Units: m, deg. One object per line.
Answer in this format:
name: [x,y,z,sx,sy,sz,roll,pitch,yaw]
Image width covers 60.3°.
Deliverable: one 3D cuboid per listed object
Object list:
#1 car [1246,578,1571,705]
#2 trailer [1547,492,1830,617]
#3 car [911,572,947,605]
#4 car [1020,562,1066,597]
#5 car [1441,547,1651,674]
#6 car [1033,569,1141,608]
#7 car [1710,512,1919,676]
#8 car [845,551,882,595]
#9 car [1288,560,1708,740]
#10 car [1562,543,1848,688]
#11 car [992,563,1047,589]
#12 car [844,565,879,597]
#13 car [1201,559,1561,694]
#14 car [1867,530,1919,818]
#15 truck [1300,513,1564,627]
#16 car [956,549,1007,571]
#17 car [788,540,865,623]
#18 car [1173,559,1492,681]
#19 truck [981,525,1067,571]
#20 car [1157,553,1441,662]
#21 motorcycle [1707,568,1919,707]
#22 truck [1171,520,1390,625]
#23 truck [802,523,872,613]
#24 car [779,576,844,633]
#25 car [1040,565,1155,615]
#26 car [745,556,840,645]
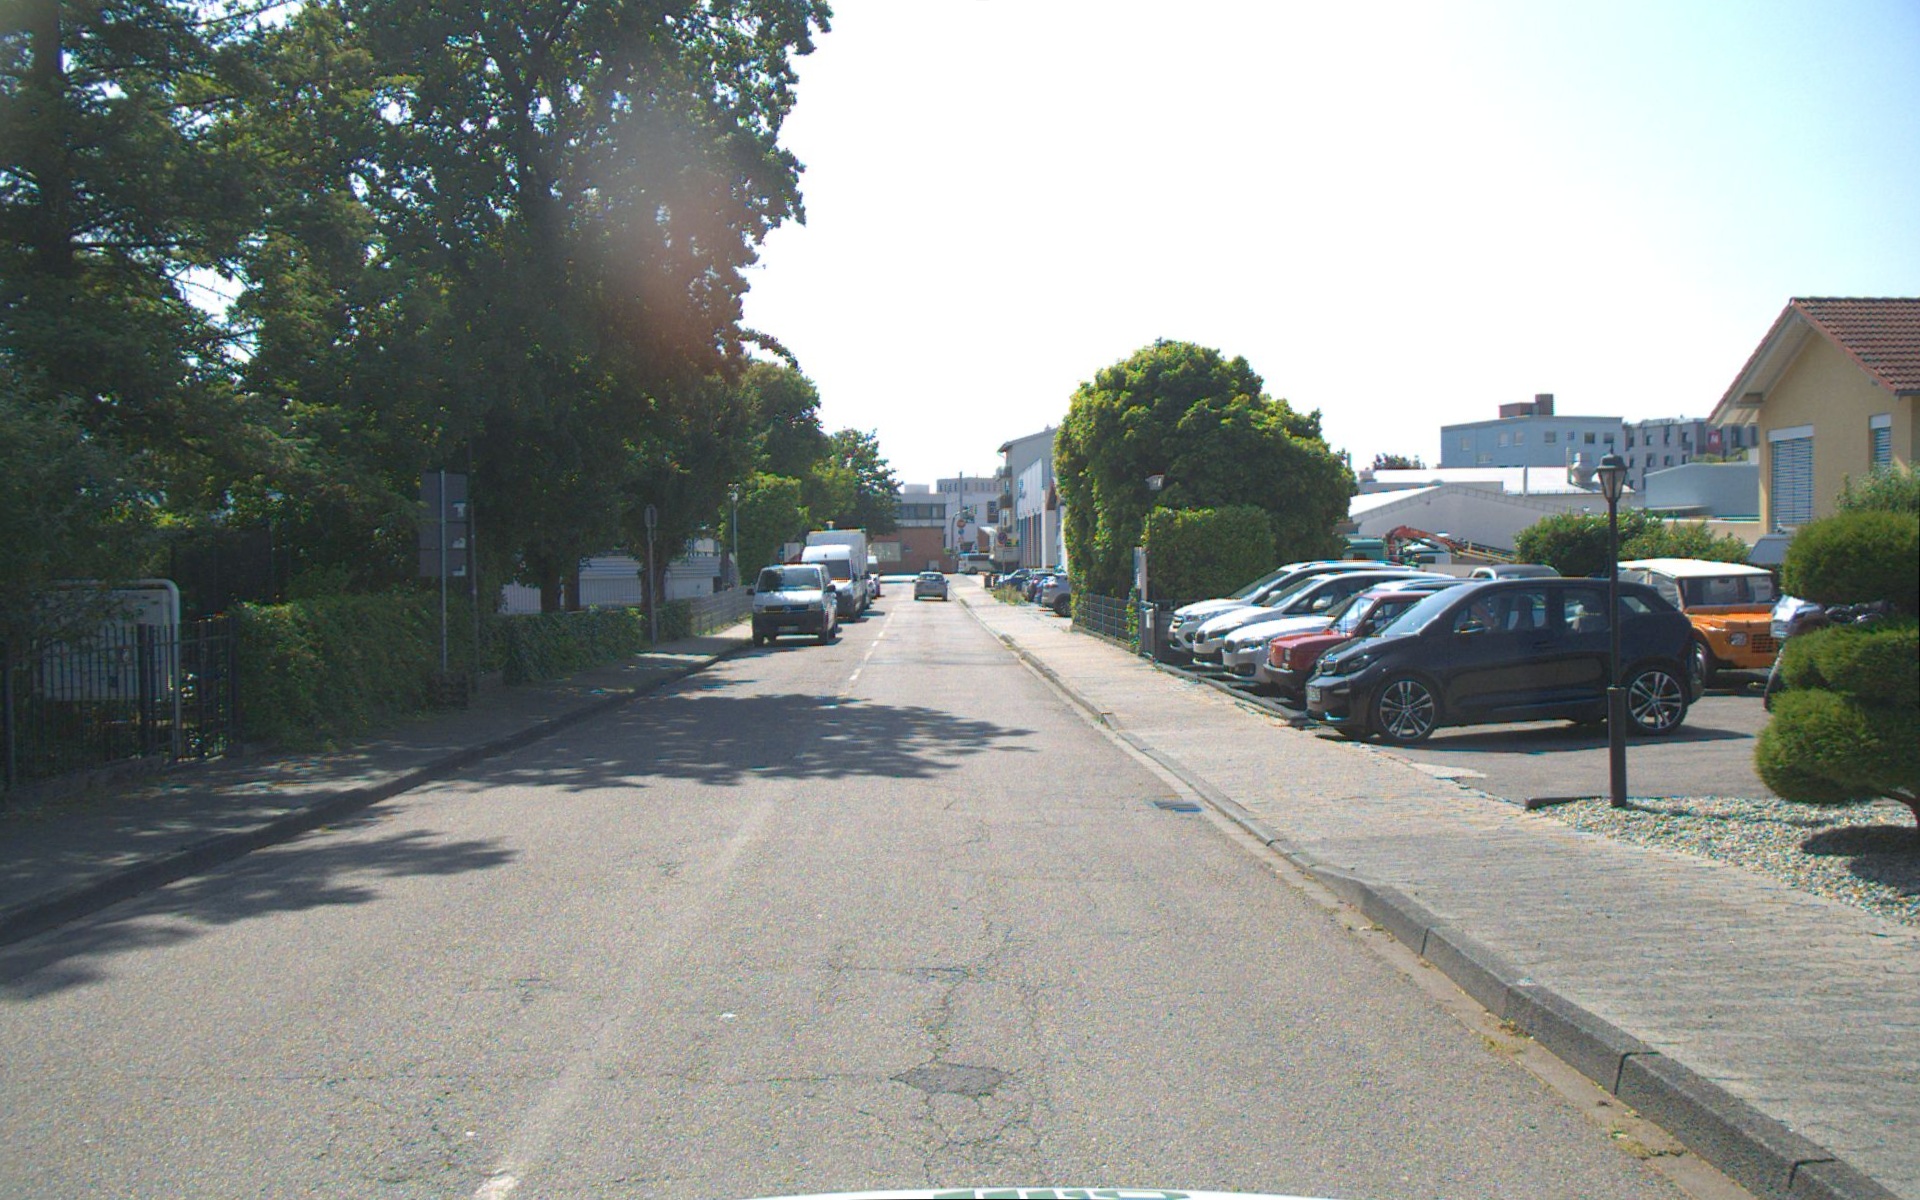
car: [5.373,0.475,20.073,3.478,1.358,1.558,-2,0,-3]
trailer: [24.390,-1.522,55.712,8.159,3.930,3.069,-1,1,4]
car: [-1.699,-0.606,88.502,1.852,1.714,3.956,-1,0,-2]
car: [4.114,-1.035,82.306,1.821,1.595,4.950,-1,2,-2]
car: [9.323,0.152,26.645,1.953,1.892,3.787,0,0,-2]
car: [5.265,-0.488,68.943,4.265,1.466,1.892,-1,1,-2]
car: [12.734,-0.129,23.032,1.955,2.048,4.901,-2,1,-6]
car: [-5.687,-1.610,97.430,1.966,2.407,5.227,-4,2,-3]
car: [5.455,0.474,17.060,3.727,1.652,1.758,-2,1,-3]
car: [9.968,0.160,22.495,1.953,1.758,3.998,-1,1,-2]
car: [3.577,-1.442,99.448,3.187,1.423,1.673,-1,2,-1]
car: [-5.523,-1.063,92.267,1.672,1.652,3.969,-3,1,-6]
car: [5.675,0.329,22.571,4.320,1.523,1.894,-3,0,-7]
car: [8.478,0.410,10.203,4.881,1.793,1.924,-1,1,24]
truck: [15.899,-1.007,56.126,8.104,3.674,2.954,-1,1,1]
car: [2.083,-3.847,158.992,4.587,1.991,1.905,-2,2,-21]
car: [-4.645,-0.667,58.561,2.124,2.641,6.920,-2,1,0]
car: [5.622,0.279,25.243,4.320,1.554,1.894,-3,0,-7]
truck: [5.814,-4.732,150.672,7.222,3.707,2.763,-4,2,-8]
car: [5.612,0.103,27.679,4.316,1.682,1.842,-1,1,-4]
motorcycle: [10.026,0.399,18.884,2.635,1.458,1.007,-2,1,-12]
truck: [11.613,-0.994,60.277,7.366,3.482,2.526,2,1,-2]
truck: [-5.074,-1.302,68.439,2.632,3.425,7.124,-2,1,-4]
car: [-4.424,0.100,49.759,1.680,1.570,4.399,-3,1,-3]
car: [5.189,-0.393,62.815,4.117,1.711,1.766,2,1,-2]
car: [-4.241,-0.025,42.586,1.931,2.048,5.055,-3,1,-1]
